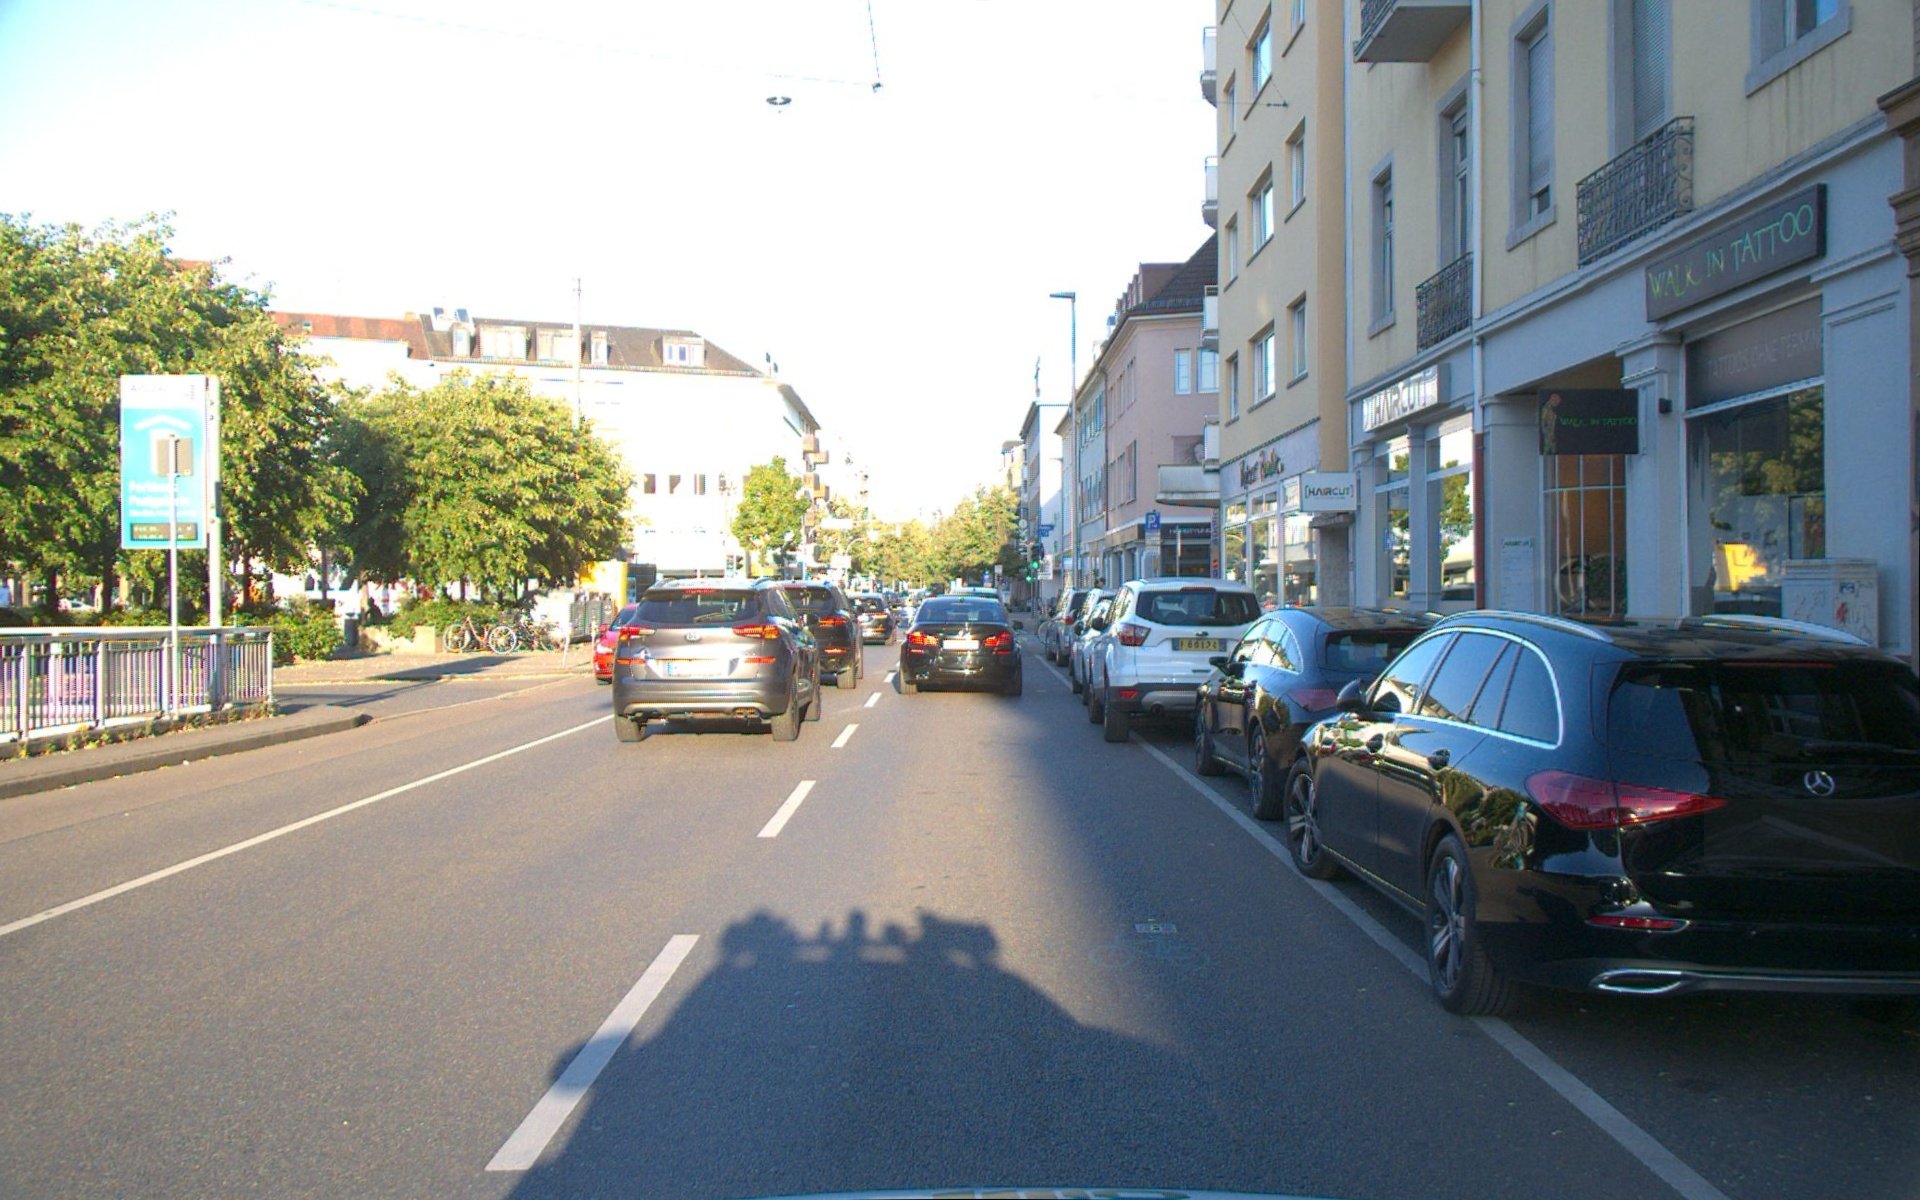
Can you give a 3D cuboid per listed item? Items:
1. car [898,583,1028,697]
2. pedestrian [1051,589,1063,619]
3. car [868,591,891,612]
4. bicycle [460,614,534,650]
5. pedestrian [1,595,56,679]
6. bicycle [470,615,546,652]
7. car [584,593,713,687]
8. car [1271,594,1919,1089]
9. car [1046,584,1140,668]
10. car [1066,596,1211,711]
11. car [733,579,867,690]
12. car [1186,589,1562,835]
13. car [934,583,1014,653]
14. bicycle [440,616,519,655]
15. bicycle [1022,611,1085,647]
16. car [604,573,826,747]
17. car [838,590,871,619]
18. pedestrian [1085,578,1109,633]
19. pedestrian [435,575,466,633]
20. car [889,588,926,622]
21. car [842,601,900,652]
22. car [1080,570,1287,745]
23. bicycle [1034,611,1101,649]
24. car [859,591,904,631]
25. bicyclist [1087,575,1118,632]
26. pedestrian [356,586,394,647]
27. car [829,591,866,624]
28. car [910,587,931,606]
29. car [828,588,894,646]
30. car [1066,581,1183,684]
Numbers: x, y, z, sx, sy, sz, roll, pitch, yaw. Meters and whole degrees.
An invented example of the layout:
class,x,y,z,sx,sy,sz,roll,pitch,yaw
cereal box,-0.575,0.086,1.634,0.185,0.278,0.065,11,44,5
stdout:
class,x,y,z,sx,sy,sz,roll,pitch,yaw
car,0.016,0.578,25.889,1.858,1.609,3.999,1,0,-1
pedestrian,5.121,0.228,86.988,0.619,1.561,0.702,0,0,2
car,-6.424,0.097,132.340,1.657,1.579,3.950,-3,0,-1
bicycle,-12.207,0.848,43.625,1.789,0.868,0.483,3,0,-4
pedestrian,-18.155,0.715,32.241,0.774,1.623,0.568,0,0,19
bicycle,-11.670,0.872,42.718,1.789,0.868,0.483,3,0,-4
car,-5.785,0.699,31.107,1.657,1.579,3.950,-3,0,-1
car,2.653,0.753,7.292,1.694,1.473,4.524,1,0,0
car,2.832,0.550,35.867,1.694,1.681,3.970,1,0,0
car,2.507,0.723,24.136,1.694,1.476,4.312,1,0,1
car,-2.533,0.520,27.078,1.858,1.678,4.103,0,0,-1
car,2.867,0.705,12.458,1.694,1.473,4.473,1,0,0
car,0.299,0.419,40.595,1.858,1.609,3.999,1,0,-1
bicycle,-11.877,0.871,40.913,1.789,0.868,0.483,3,0,-4
bicycle,2.588,0.800,45.748,1.728,0.984,0.491,0,0,5
car,-2.532,0.571,18.039,1.858,1.678,4.103,0,0,-1
car,-6.194,0.243,97.039,1.657,1.579,3.950,-3,0,-1
pedestrian,4.551,0.180,54.936,0.685,1.843,0.634,0,0,-4
pedestrian,-14.261,0.108,46.293,0.668,1.623,0.487,0,0,19
car,-2.508,0.226,79.581,1.743,1.574,3.999,0,0,-1
car,-2.870,0.837,54.078,1.743,1.574,3.999,0,0,-1
car,2.354,0.576,18.376,1.694,1.679,4.284,1,0,0
bicycle,2.883,0.798,44.257,1.731,0.984,0.490,0,0,25
car,-3.199,0.438,67.981,1.743,1.574,3.999,0,0,-1
bicyclist,4.547,0.106,52.888,0.814,1.808,0.608,0,0,27
pedestrian,-15.620,0.442,44.172,0.774,1.623,0.568,0,0,19
car,-5.849,0.368,86.332,1.657,1.579,3.950,-3,0,-1
car,-3.348,-0.278,140.824,1.743,1.574,3.999,0,0,-1
car,-2.796,0.452,47.382,1.743,1.574,3.999,0,0,-1
car,2.887,0.555,29.647,1.694,1.681,3.829,1,0,0
